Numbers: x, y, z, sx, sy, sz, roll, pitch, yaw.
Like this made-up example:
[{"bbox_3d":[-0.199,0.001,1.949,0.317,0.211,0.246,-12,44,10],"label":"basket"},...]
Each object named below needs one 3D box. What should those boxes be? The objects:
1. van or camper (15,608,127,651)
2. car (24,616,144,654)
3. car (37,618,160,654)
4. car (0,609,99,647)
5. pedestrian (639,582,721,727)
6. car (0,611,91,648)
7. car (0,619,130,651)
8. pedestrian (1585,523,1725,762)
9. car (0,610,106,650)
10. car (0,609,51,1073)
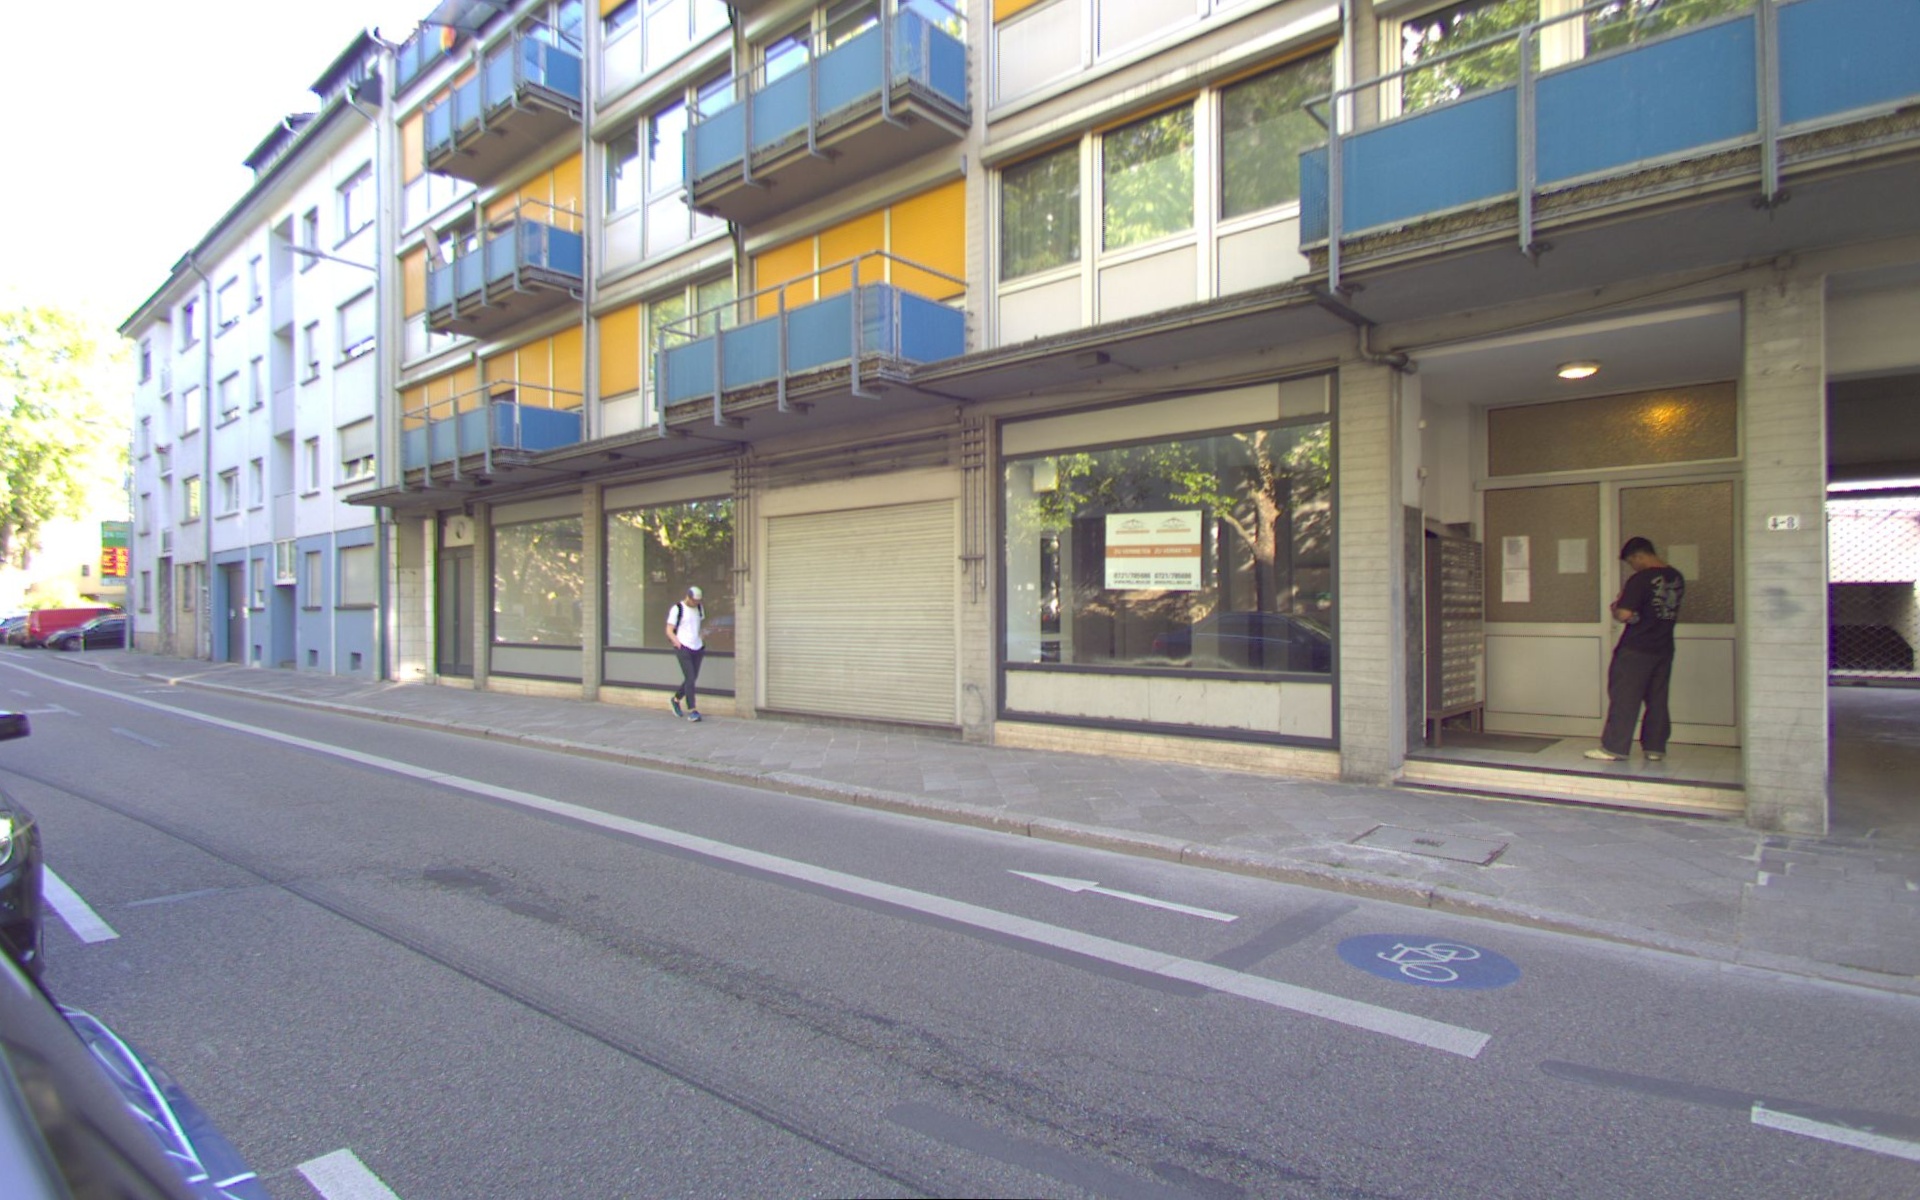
[{"bbox_3d":[-43.885,1.431,50.000,1.999,2.029,3.946,-1,-1,40],"label":"van or camper"},{"bbox_3d":[-41.629,1.620,48.158,1.999,1.703,4.093,-1,-1,41],"label":"car"},{"bbox_3d":[-39.748,1.632,46.774,1.999,1.506,4.093,-1,-1,41],"label":"car"},{"bbox_3d":[-55.398,1.673,61.142,1.999,2.210,4.927,-1,-1,41],"label":"car"},{"bbox_3d":[-3.659,0.689,13.209,0.879,1.813,0.593,-1,0,41],"label":"pedestrian"},{"bbox_3d":[-57.392,1.824,62.851,1.999,2.210,4.927,-1,-1,41],"label":"car"},{"bbox_3d":[-45.718,1.751,51.692,1.999,1.506,4.927,-1,-1,41],"label":"car"},{"bbox_3d":[5.258,0.309,7.676,0.650,1.726,0.550,0,-1,-16],"label":"pedestrian"},{"bbox_3d":[-53.311,1.738,59.191,1.999,2.210,4.927,-1,-1,41],"label":"car"},{"bbox_3d":[-4.989,0.798,3.894,3.861,1.467,1.718,-1,-1,40],"label":"car"}]
